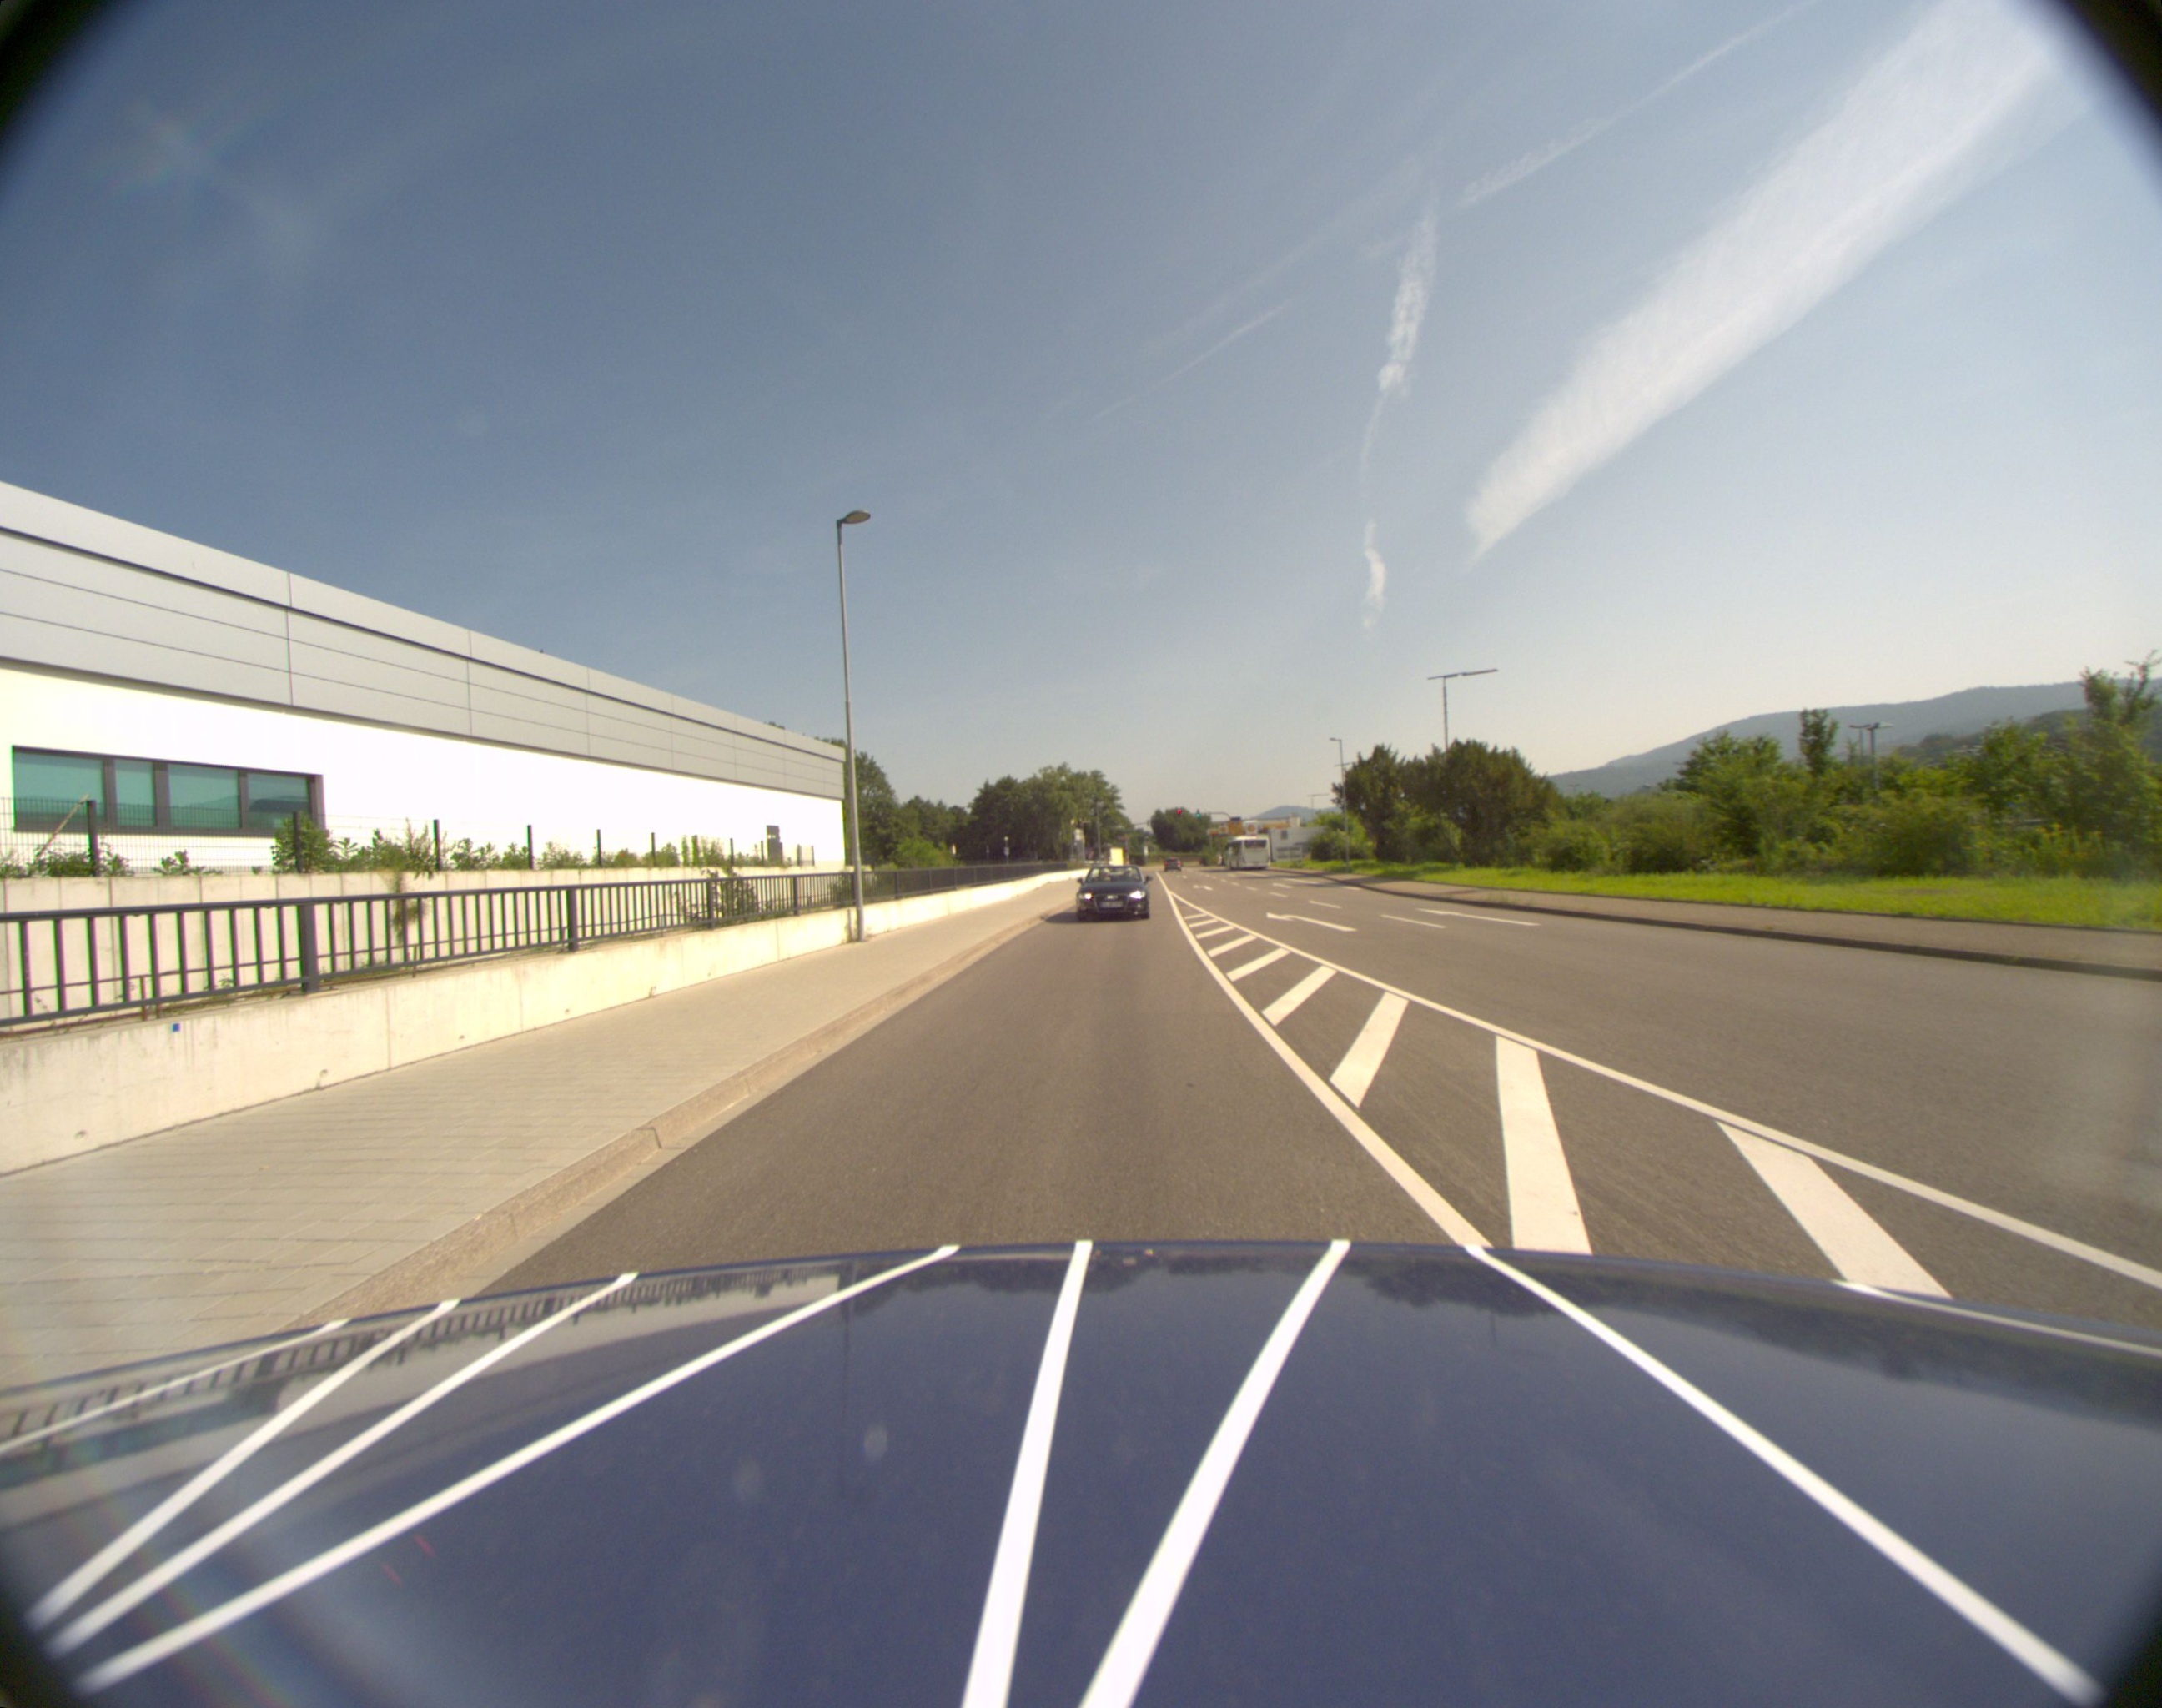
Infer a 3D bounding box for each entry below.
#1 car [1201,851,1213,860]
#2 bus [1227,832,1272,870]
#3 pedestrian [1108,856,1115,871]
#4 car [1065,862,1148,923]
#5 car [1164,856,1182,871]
[{"bbox_3d":[23.156,0.244,139.865,1.841,1.483,4.433,-2,0,5],"label":"car"},{"bbox_3d":[16.384,-0.286,74.702,2.626,3.290,11.960,-2,0,5],"label":"bus"},{"bbox_3d":[3.511,1.111,87.517,0.712,1.661,0.593,-2,1,-2],"label":"pedestrian"},{"bbox_3d":[0.775,0.921,19.874,1.868,1.322,4.234,-3,0,5],"label":"car"},{"bbox_3d":[9.751,1.029,80.452,1.776,1.464,4.221,-2,0,6],"label":"car"}]
